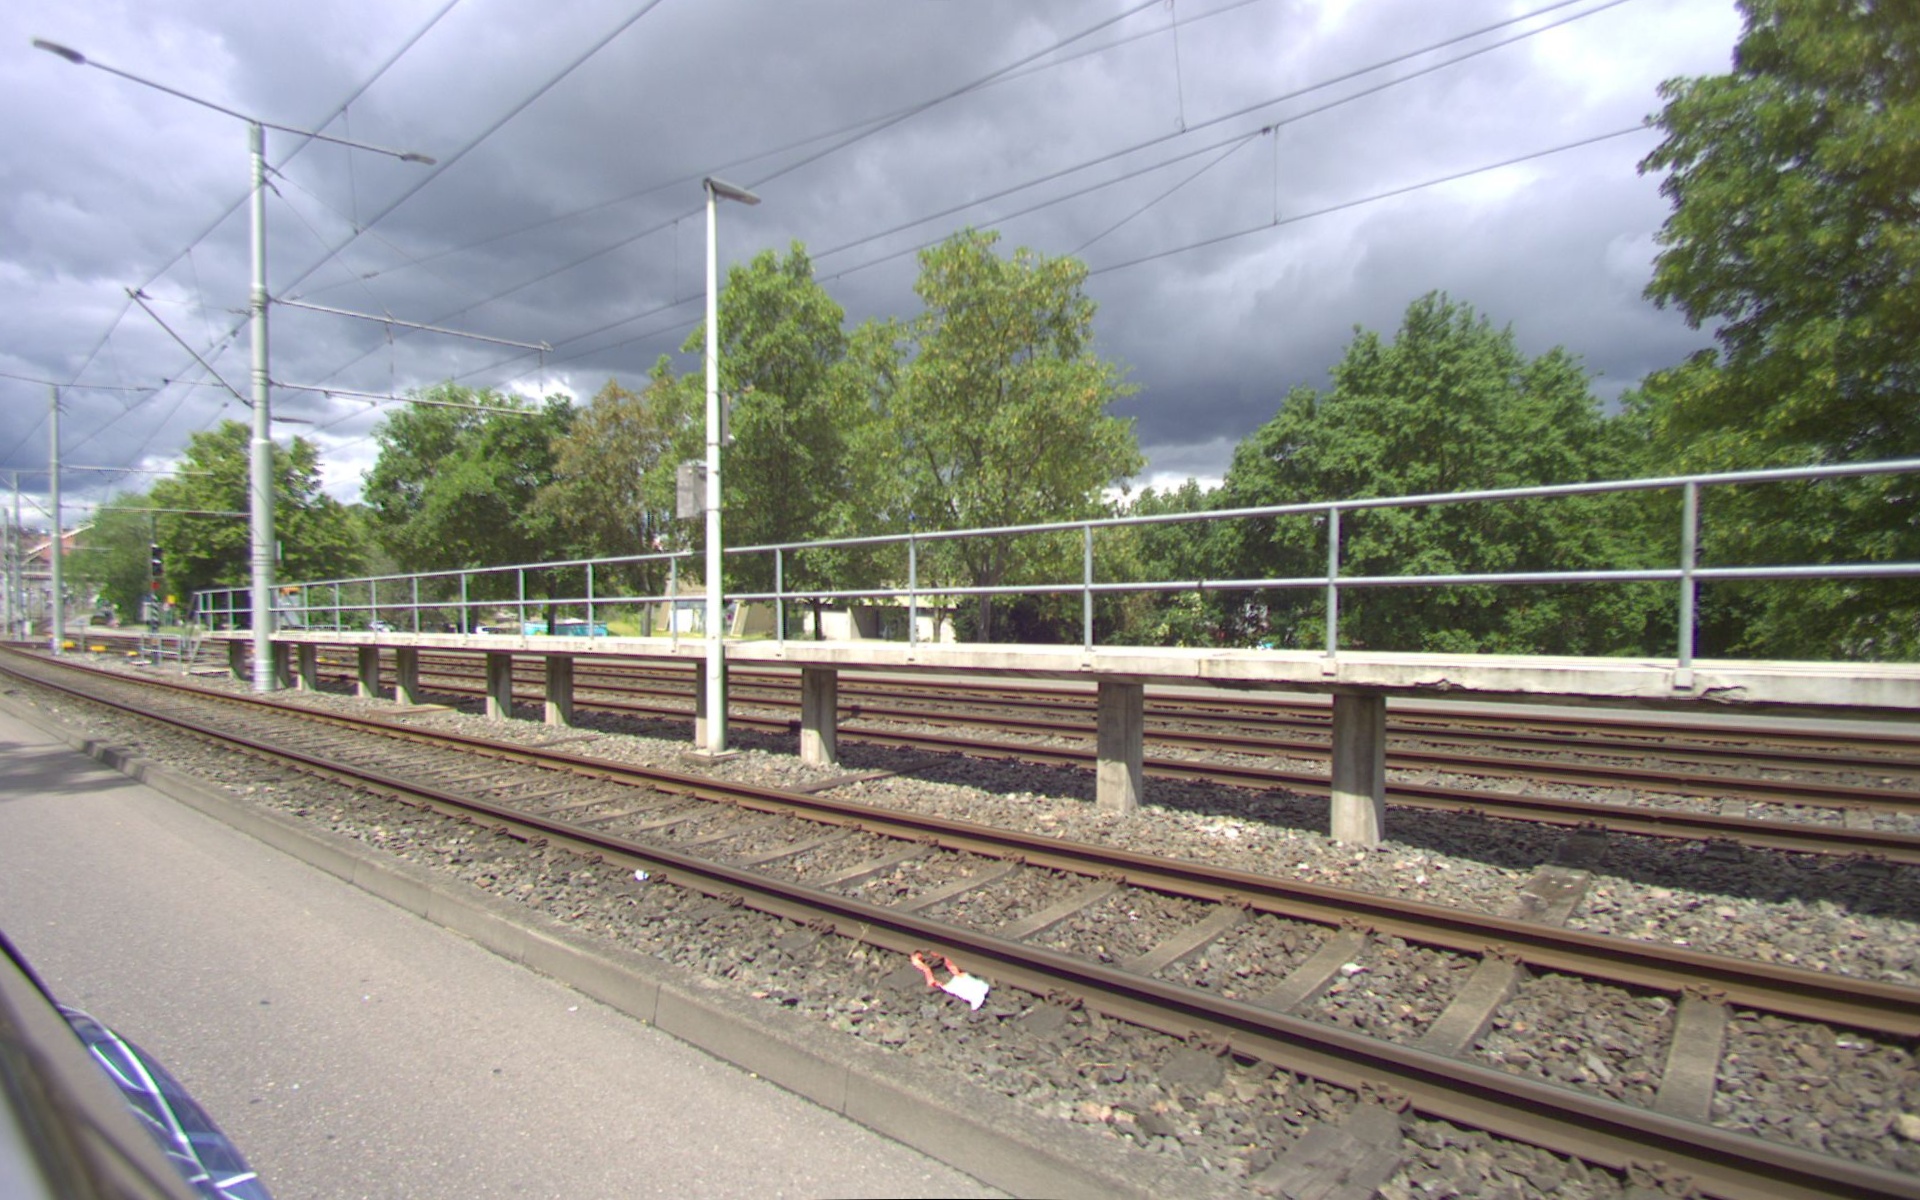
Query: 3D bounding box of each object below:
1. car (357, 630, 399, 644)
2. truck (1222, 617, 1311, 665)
[{"bbox_3d":[-65.990,4.190,114.837,1.628,1.546,3.815,-2,-3,44],"label":"car"},{"bbox_3d":[19.168,2.546,63.148,2.680,2.877,6.529,-2,-3,43],"label":"truck"}]
